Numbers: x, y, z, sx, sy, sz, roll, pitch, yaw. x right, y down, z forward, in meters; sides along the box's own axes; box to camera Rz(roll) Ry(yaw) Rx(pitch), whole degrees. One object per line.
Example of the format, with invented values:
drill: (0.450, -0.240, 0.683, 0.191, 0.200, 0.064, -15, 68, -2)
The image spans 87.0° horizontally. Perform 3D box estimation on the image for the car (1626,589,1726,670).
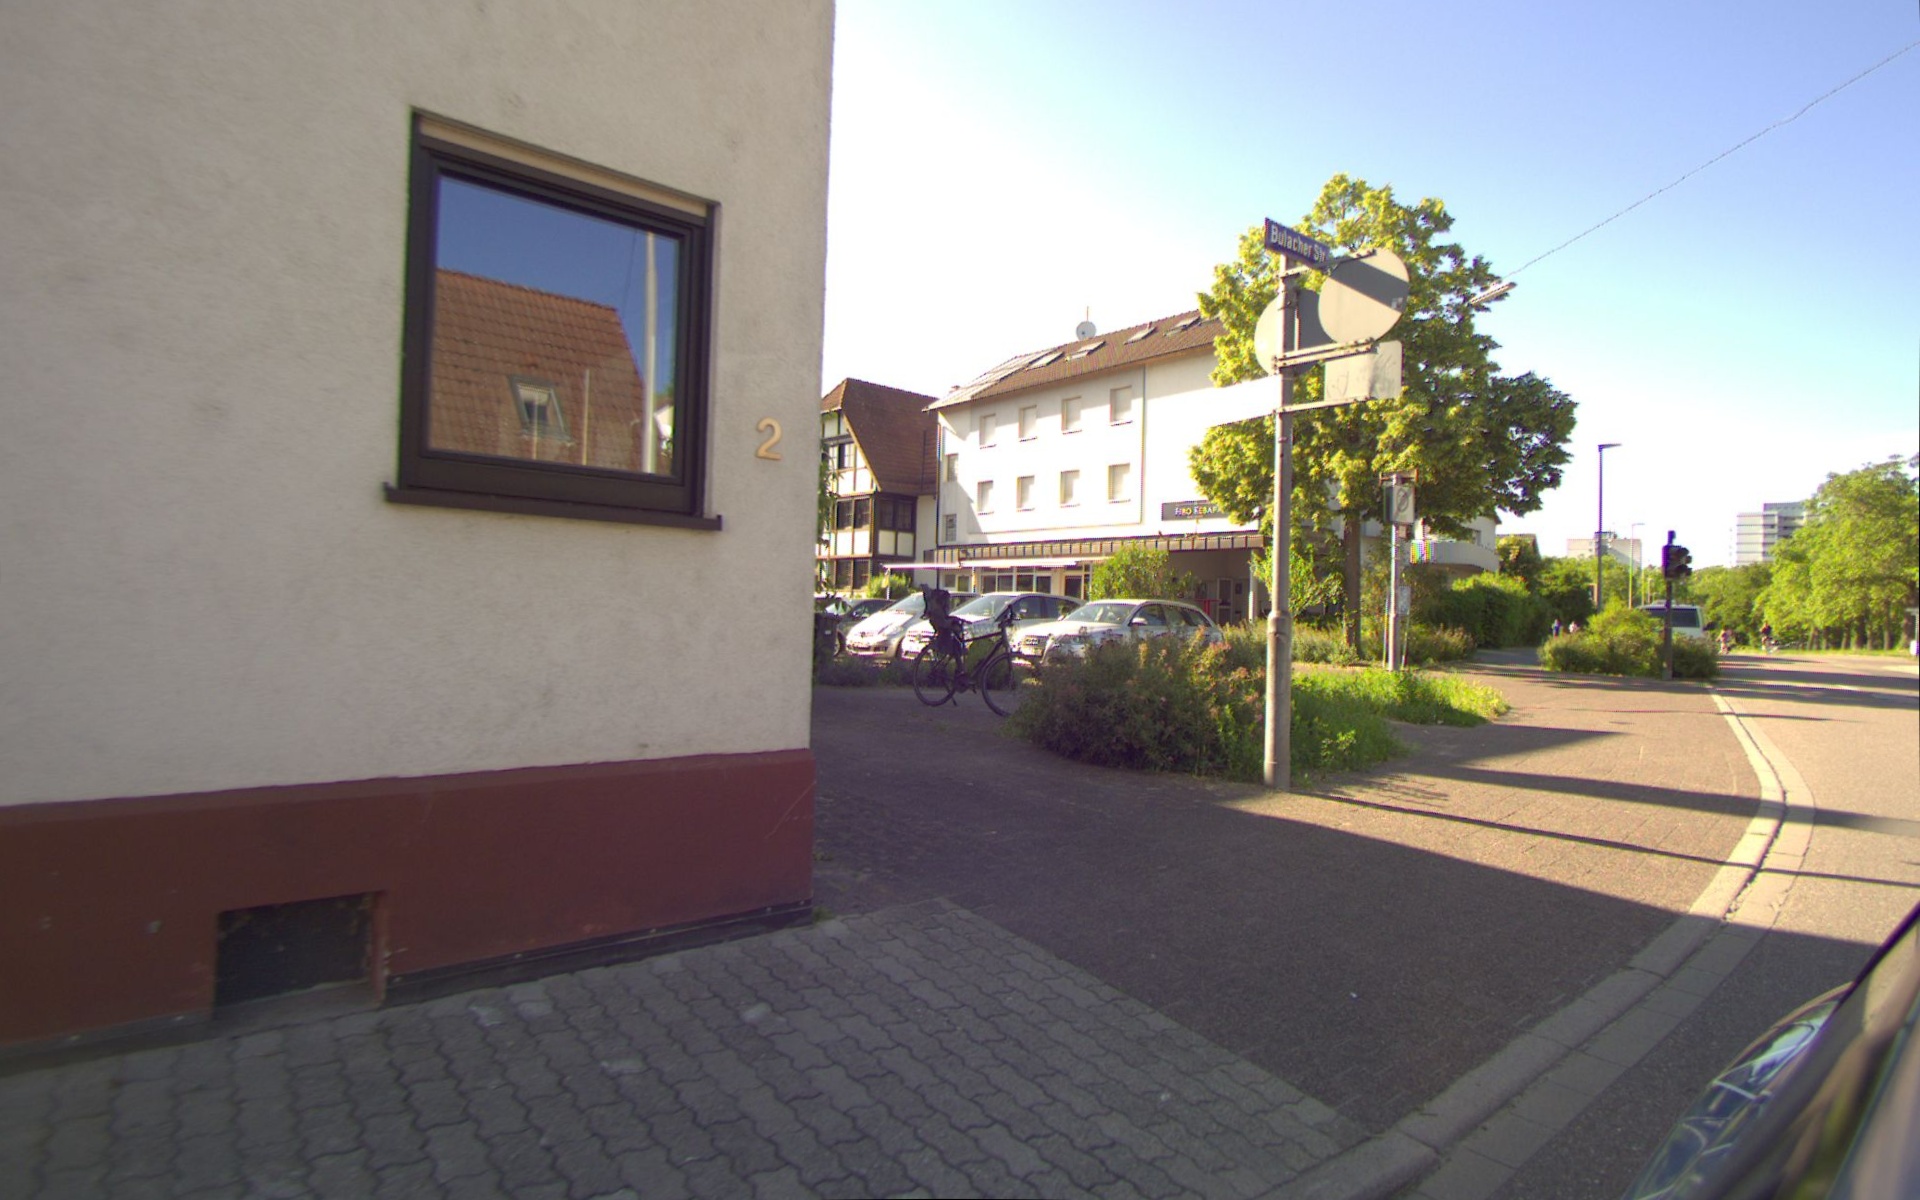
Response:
car: (20.717, 0.812, 29.199, 1.991, 2.105, 4.511, 2, 0, 40)

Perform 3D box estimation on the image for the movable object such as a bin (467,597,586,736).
movable object such as a bin: (-3.329, 0.496, 7.779, 0.658, 0.995, 0.530, 3, -1, -43)

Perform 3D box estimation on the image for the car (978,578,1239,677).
car: (2.730, 0.531, 17.842, 4.720, 1.440, 1.996, 5, -2, -43)

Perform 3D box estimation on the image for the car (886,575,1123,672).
car: (0.922, 0.472, 19.391, 4.318, 1.536, 1.714, 5, -1, -35)

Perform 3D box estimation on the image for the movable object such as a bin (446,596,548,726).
movable object such as a bin: (-3.750, 0.481, 8.198, 0.584, 0.989, 0.498, 3, -1, -43)

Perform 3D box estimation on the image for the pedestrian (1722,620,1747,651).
pedestrian: (42.346, 1.945, 55.317, 0.620, 1.605, 0.837, 2, 4, -36)

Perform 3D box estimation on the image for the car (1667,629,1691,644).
car: (82.936, 4.178, 116.674, 1.990, 1.617, 4.514, 2, 0, 38)

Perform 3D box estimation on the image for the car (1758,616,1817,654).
car: (46.674, 1.929, 57.152, 1.952, 1.943, 4.524, 2, 0, 32)

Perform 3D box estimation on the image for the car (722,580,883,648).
car: (-4.055, 0.372, 26.302, 3.738, 1.493, 1.601, 5, -1, -38)

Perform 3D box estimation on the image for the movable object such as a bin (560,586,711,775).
movable object such as a bin: (-2.110, 0.503, 6.597, 0.735, 1.137, 0.527, 3, -1, -43)

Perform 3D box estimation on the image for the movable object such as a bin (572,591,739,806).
movable object such as a bin: (-1.747, 0.540, 5.831, 0.735, 1.137, 0.481, 3, -1, -43)

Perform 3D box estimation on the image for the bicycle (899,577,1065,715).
bicycle: (0.205, 0.445, 10.734, 0.688, 1.300, 1.739, 2, 1, -44)

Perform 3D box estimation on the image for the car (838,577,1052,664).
car: (-0.265, 0.459, 21.753, 4.318, 1.571, 1.714, 5, -2, -35)

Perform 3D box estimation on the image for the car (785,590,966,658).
car: (-1.961, 0.597, 24.232, 4.036, 1.367, 1.649, 5, -3, -38)
